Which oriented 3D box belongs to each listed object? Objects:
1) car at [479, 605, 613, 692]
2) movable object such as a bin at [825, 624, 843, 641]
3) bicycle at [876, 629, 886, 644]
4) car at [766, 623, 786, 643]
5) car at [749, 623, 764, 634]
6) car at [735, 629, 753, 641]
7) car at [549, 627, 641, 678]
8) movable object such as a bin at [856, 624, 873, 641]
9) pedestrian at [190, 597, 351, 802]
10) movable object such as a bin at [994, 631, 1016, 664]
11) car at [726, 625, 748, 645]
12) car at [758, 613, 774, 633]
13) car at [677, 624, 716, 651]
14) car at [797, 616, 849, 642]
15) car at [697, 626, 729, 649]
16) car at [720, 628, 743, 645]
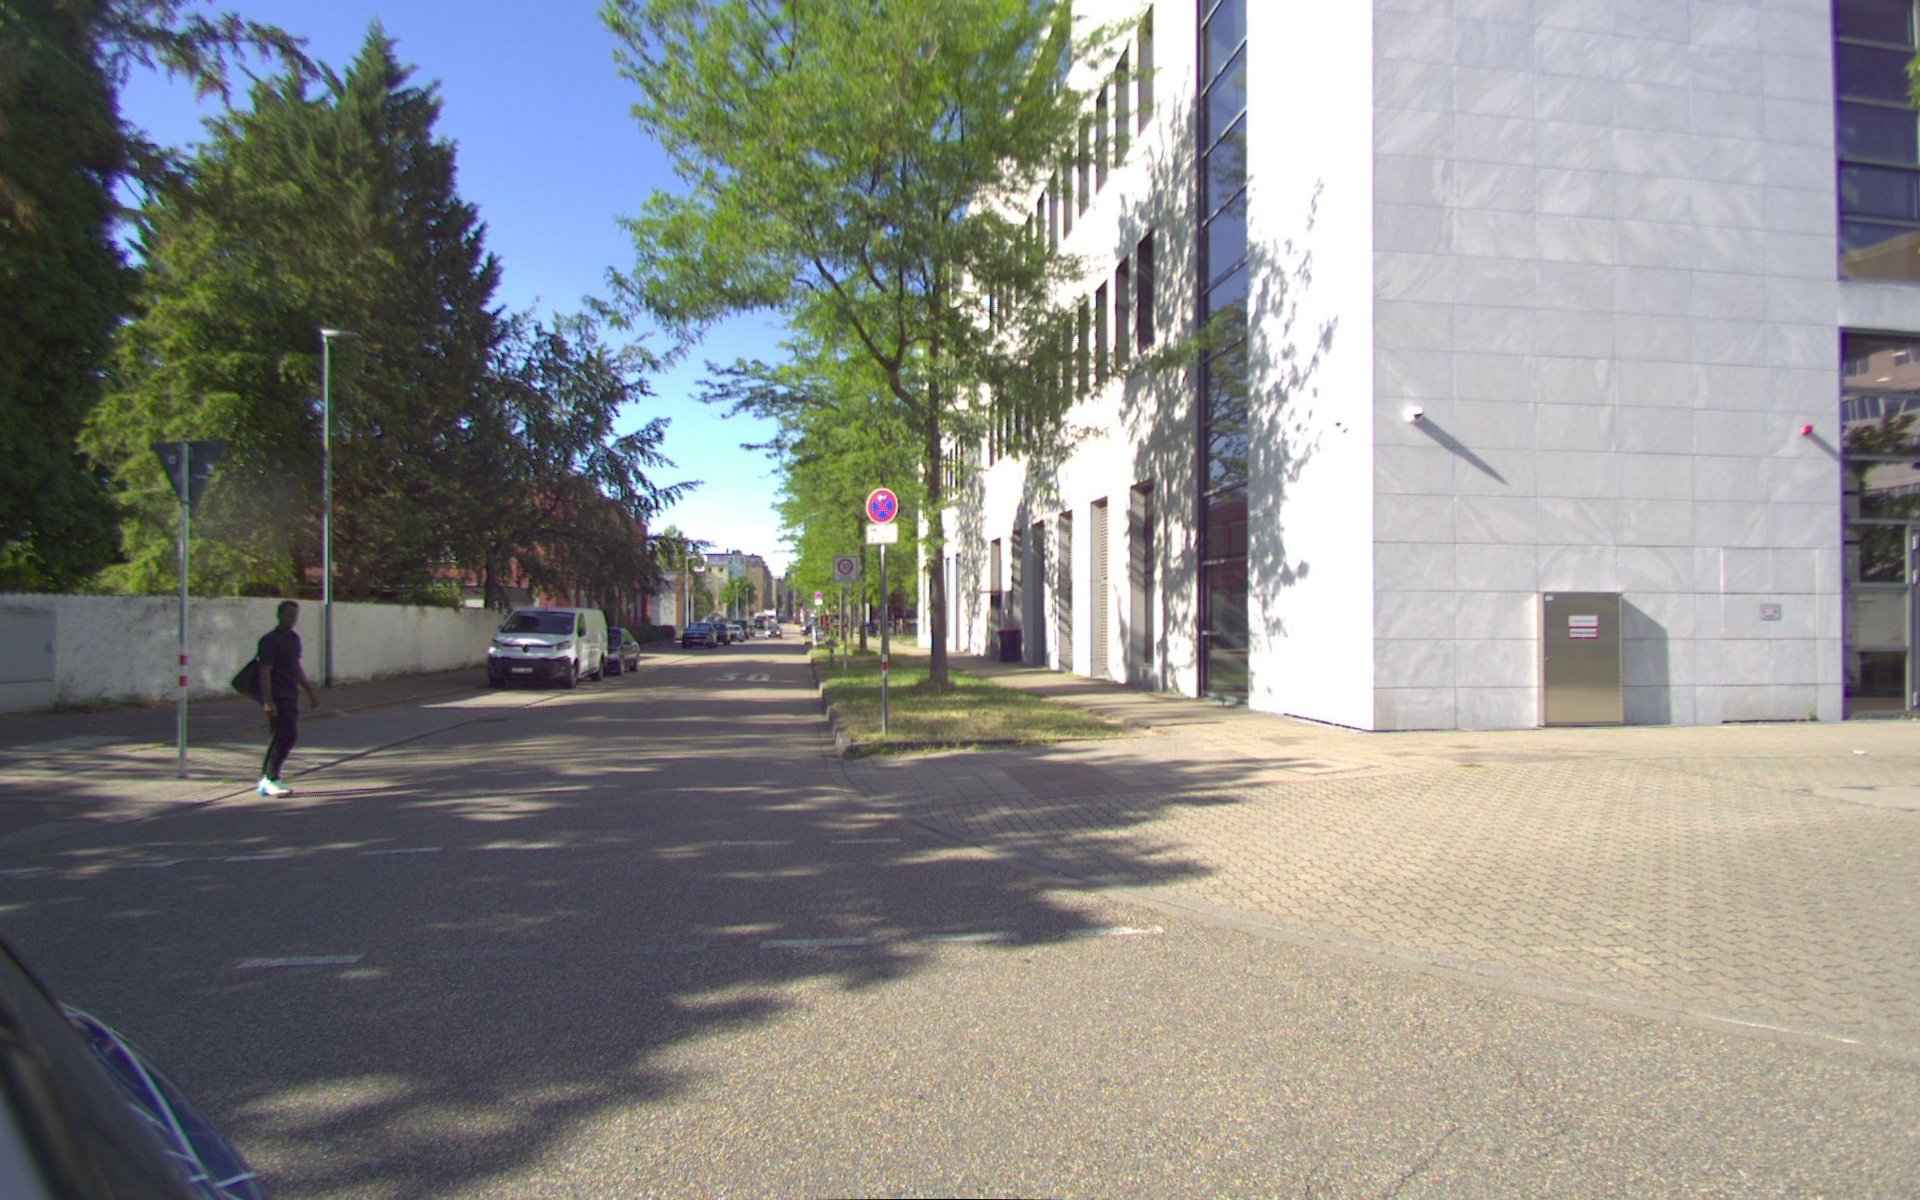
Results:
[{"bbox_3d":[-10.110,1.154,25.147,1.874,1.929,5.157,1,-2,-8],"label":"car"},{"bbox_3d":[-12.431,3.226,99.945,1.498,1.580,1.351,-1,-1,-18],"label":"movable object such as a bin"},{"bbox_3d":[-6.325,2.901,80.949,0.593,1.201,1.731,-1,-1,-8],"label":"bicycle"},{"bbox_3d":[-18.919,3.354,104.249,1.874,2.000,4.380,1,-2,-8],"label":"car"},{"bbox_3d":[-29.297,4.081,145.934,1.874,1.607,4.380,1,-2,-8],"label":"car"},{"bbox_3d":[-25.589,4.124,120.072,1.750,1.299,4.102,1,-2,-8],"label":"car"},{"bbox_3d":[-11.043,1.544,30.922,1.802,1.434,4.290,1,-2,-8],"label":"car"},{"bbox_3d":[-8.891,3.009,94.009,1.501,1.580,1.348,-1,-1,-4],"label":"movable object such as a bin"},{"bbox_3d":[-5.991,0.841,8.846,0.797,1.697,0.837,-1,-2,4],"label":"pedestrian"},{"bbox_3d":[1.446,1.526,32.739,0.585,1.048,0.544,-1,-1,-10],"label":"movable object such as a bin"},{"bbox_3d":[-23.031,3.609,104.742,1.874,2.000,4.380,1,-2,-8],"label":"car"},{"bbox_3d":[-39.328,4.591,205.077,2.870,3.973,6.335,1,-2,-7],"label":"car"},{"bbox_3d":[-16.398,2.309,63.073,1.874,1.642,4.380,1,-2,-8],"label":"car"},{"bbox_3d":[-14.785,3.082,109.041,5.405,2.560,1.990,-2,-1,-9],"label":"car"},{"bbox_3d":[-18.144,2.724,74.559,1.850,1.642,4.414,1,-2,-8],"label":"car"},{"bbox_3d":[-20.107,3.215,89.057,1.673,1.467,3.896,1,-2,-8],"label":"car"}]
